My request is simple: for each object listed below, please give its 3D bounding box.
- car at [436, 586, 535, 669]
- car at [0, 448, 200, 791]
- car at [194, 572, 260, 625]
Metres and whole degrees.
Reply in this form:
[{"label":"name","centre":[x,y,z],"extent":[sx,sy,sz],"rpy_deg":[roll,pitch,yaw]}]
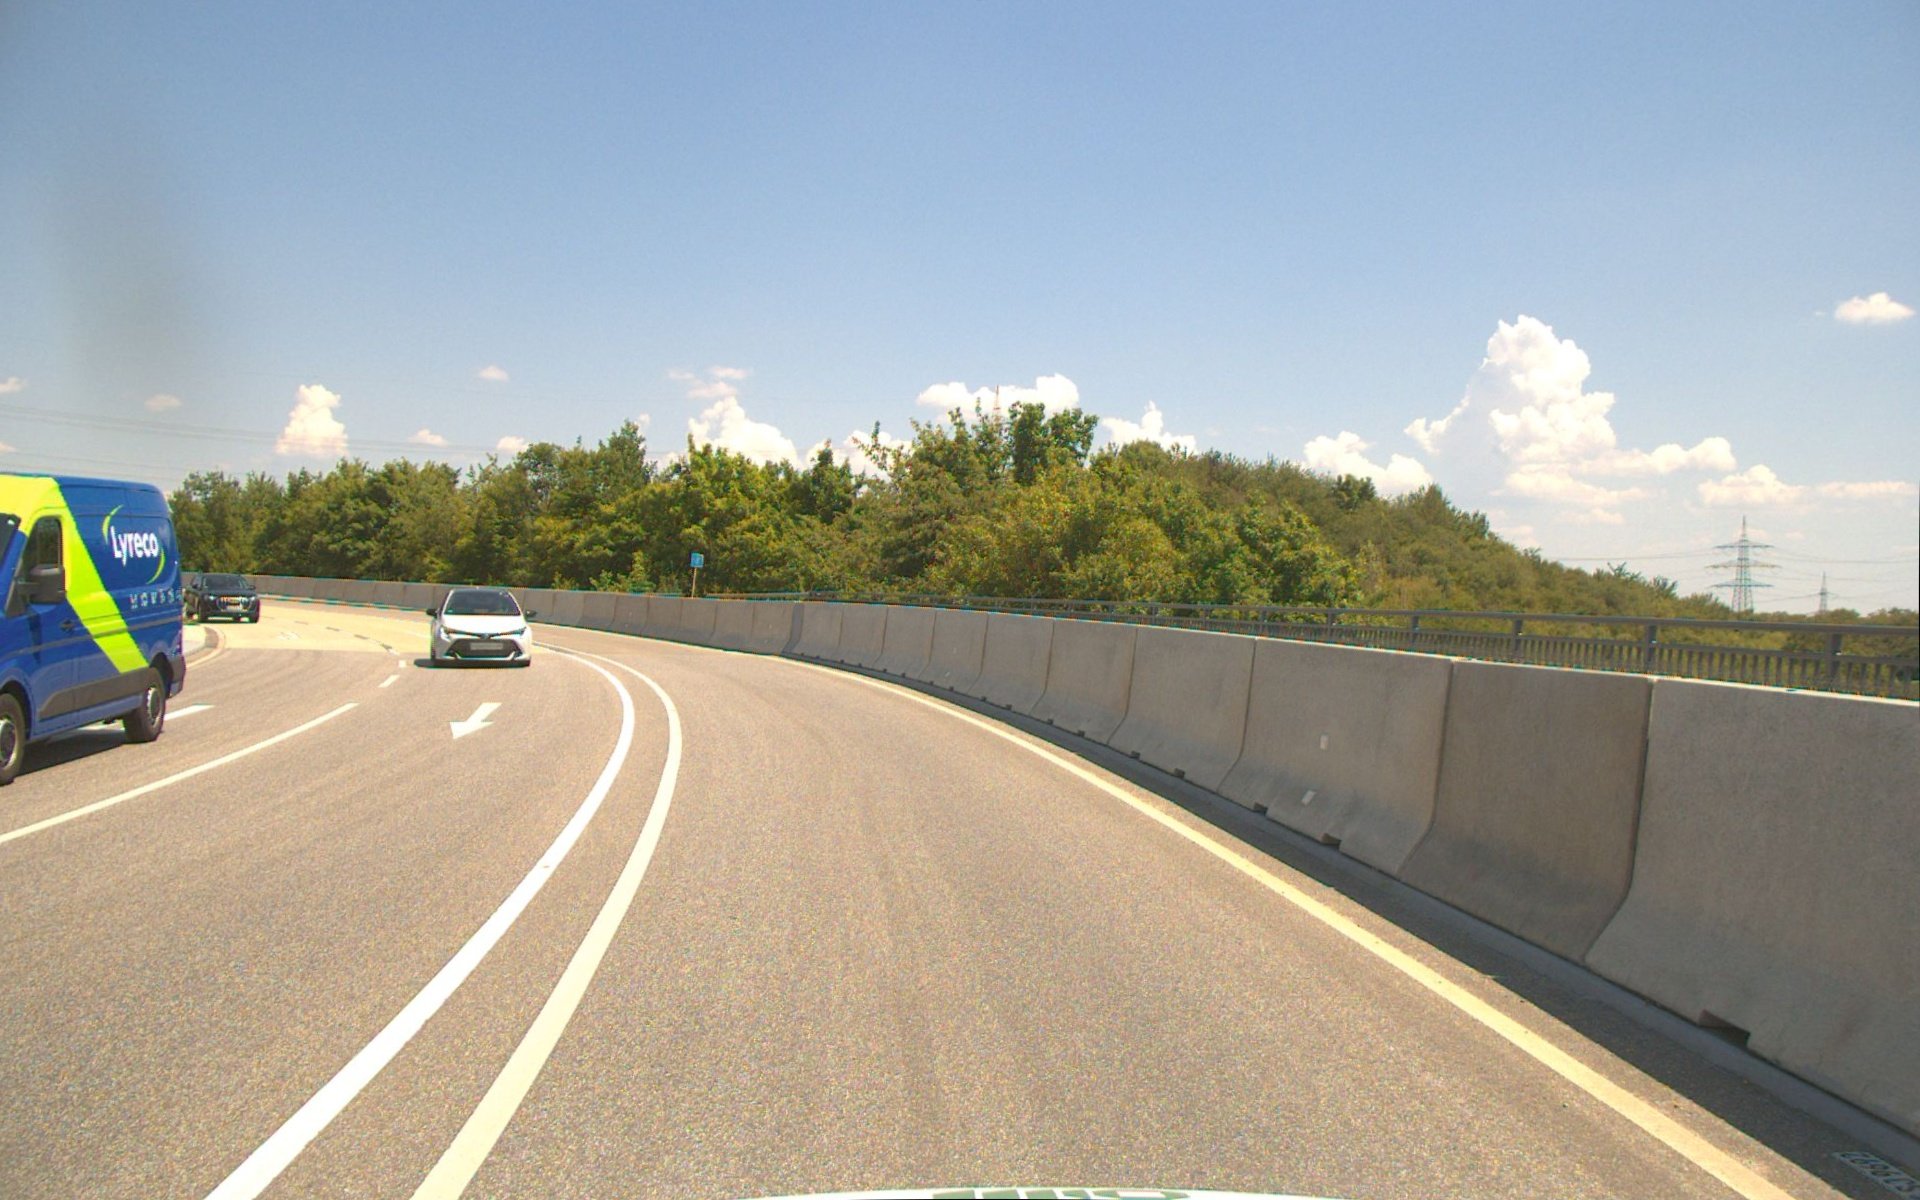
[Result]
[{"label":"car","centre":[-9.220,0.478,31.966],"extent":[1.715,1.484,4.344],"rpy_deg":[0,0,-18]},{"label":"car","centre":[-8.413,0.107,14.243],"extent":[1.957,2.528,5.468],"rpy_deg":[2,0,-10]},{"label":"car","centre":[-24.600,-0.085,55.420],"extent":[1.793,1.623,4.409],"rpy_deg":[-1,2,-27]}]
